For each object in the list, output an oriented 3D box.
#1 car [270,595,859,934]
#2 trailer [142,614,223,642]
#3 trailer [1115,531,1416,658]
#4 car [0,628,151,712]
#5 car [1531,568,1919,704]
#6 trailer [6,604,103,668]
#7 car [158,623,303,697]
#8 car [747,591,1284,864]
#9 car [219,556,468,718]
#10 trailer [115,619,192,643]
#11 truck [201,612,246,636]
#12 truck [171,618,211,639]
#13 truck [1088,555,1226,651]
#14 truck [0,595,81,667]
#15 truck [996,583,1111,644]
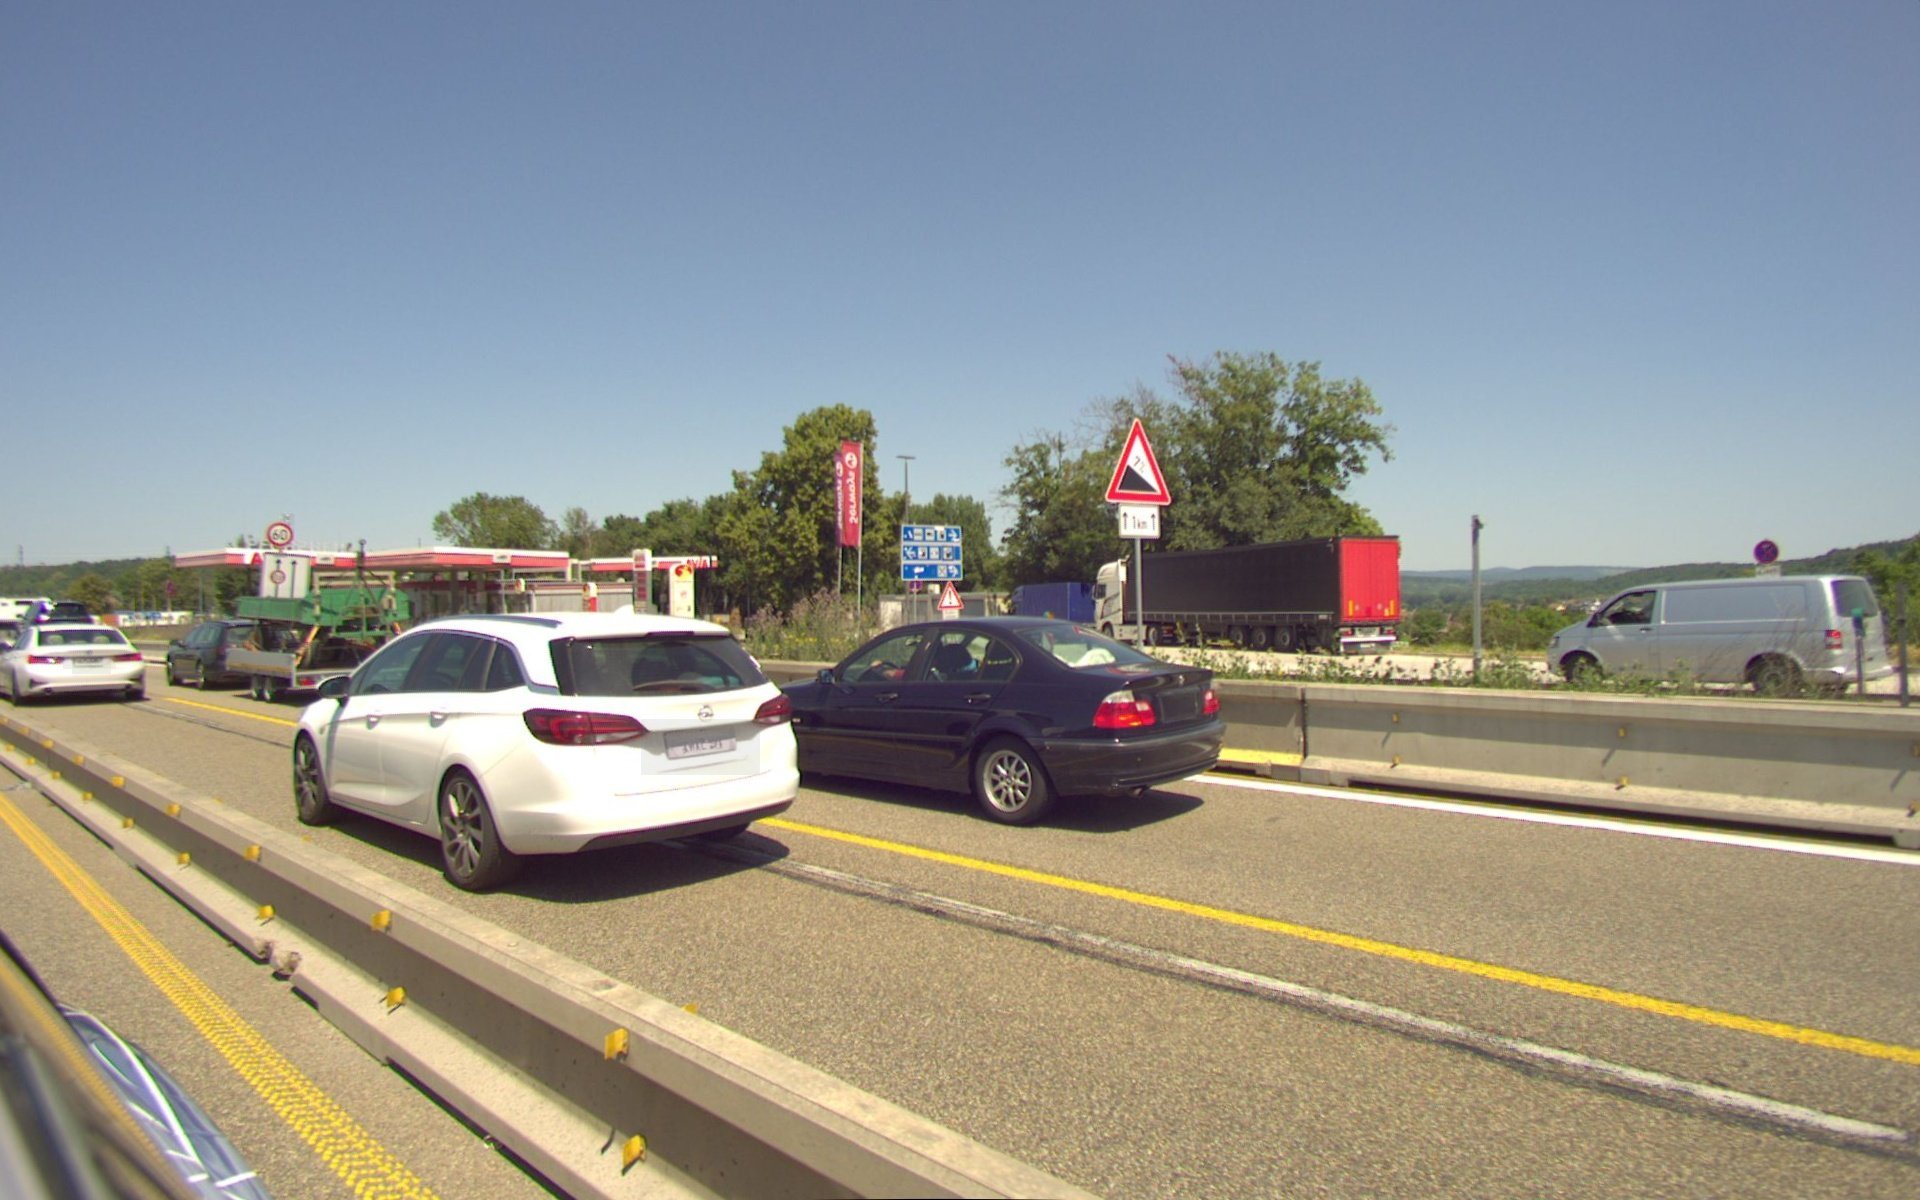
[{"bbox_3d":[-2.824,0.795,6.614,4.517,1.490,1.715,-2,-3,41],"label":"car"},{"bbox_3d":[-143.990,5.110,187.515,12.193,4.197,2.863,-4,1,-4],"label":"trailer"},{"bbox_3d":[11.179,-0.037,40.046,3.105,4.142,14.209,0,-1,-22],"label":"trailer"},{"bbox_3d":[-16.713,1.232,18.859,4.245,1.386,1.797,-2,-2,41],"label":"car"},{"bbox_3d":[12.859,0.605,17.291,1.891,1.956,5.109,-1,-2,-29],"label":"car"},{"bbox_3d":[-35.306,1.393,39.391,5.611,2.332,2.159,-2,-2,41],"label":"trailer"},{"bbox_3d":[-16.218,1.294,22.427,4.333,1.463,1.670,-2,-2,41],"label":"car"},{"bbox_3d":[0.271,0.775,7.956,3.998,1.609,1.748,0,-1,41],"label":"car"},{"bbox_3d":[-11.131,0.628,17.979,6.448,2.417,1.894,-2,-1,41],"label":"car"},{"bbox_3d":[-162.639,6.178,204.138,12.561,3.812,2.624,-4,1,-4],"label":"trailer"},{"bbox_3d":[-136.841,4.433,188.012,6.054,3.778,2.837,-4,1,-4],"label":"truck"},{"bbox_3d":[-155.622,5.791,204.774,5.648,3.644,2.585,-4,1,-8],"label":"truck"},{"bbox_3d":[8.770,0.192,45.932,3.105,4.015,6.367,0,-1,-22],"label":"truck"},{"bbox_3d":[-40.462,1.324,43.936,8.125,2.845,2.454,-2,-1,41],"label":"truck"},{"bbox_3d":[4.904,0.767,54.780,2.779,3.087,7.144,0,-1,-27],"label":"truck"}]
